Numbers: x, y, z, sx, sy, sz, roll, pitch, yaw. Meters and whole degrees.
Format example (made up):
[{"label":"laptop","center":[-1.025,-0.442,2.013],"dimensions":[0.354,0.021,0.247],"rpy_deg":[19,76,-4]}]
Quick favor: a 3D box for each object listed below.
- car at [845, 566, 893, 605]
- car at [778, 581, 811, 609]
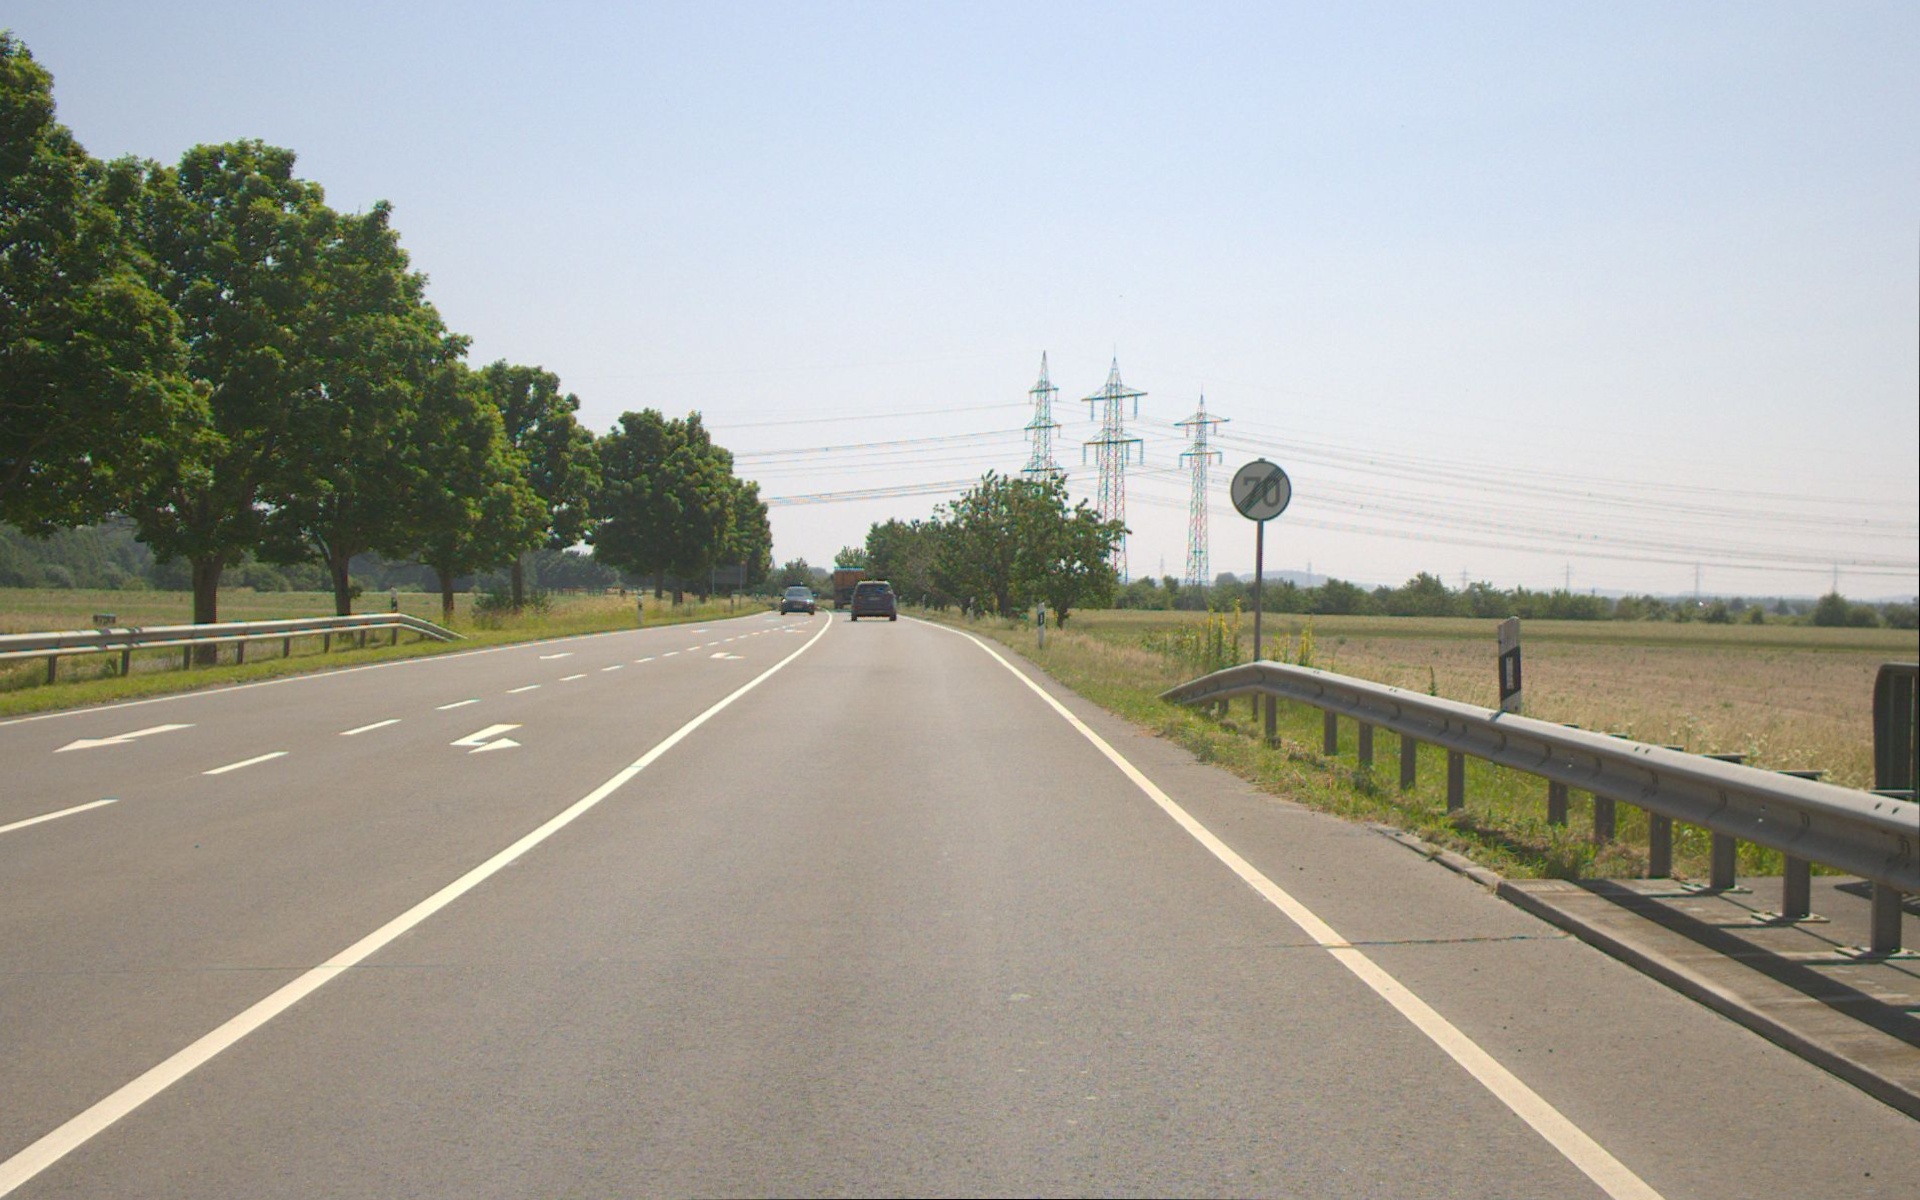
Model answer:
[{"label":"car","center":[-3.838,-0.614,144.481],"dimensions":[1.884,1.513,4.040],"rpy_deg":[3,0,-3]},{"label":"car","center":[-8.875,-0.295,184.138],"dimensions":[1.739,1.468,4.618],"rpy_deg":[0,0,-2]}]
